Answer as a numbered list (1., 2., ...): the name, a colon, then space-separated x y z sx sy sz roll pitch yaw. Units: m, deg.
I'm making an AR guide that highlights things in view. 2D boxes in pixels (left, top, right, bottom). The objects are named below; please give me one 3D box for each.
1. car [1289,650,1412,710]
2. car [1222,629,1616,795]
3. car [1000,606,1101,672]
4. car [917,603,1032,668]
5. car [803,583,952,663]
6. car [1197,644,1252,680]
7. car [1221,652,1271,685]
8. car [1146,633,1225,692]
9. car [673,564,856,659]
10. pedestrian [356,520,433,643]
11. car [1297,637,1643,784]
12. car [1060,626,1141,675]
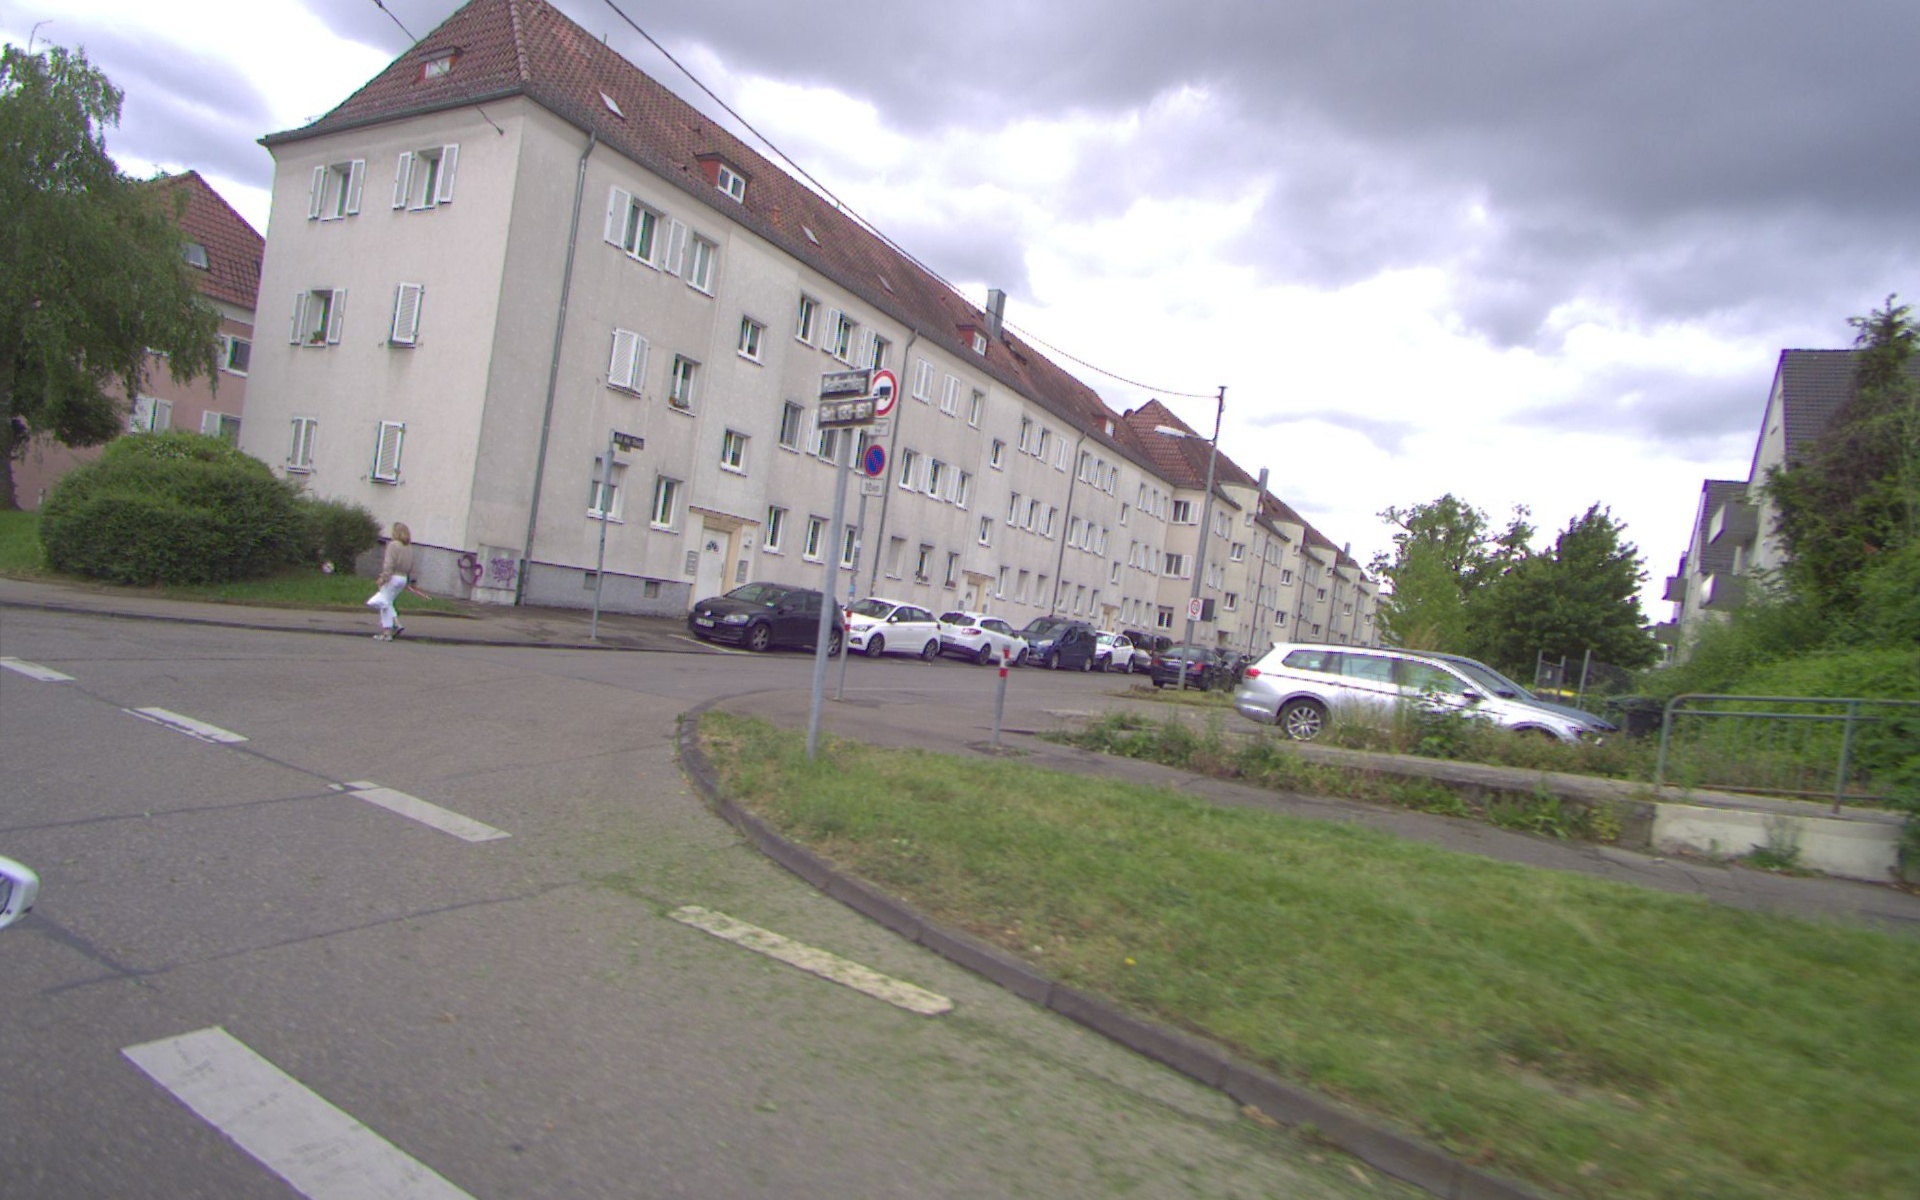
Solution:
1. car: 13.490 2.772 34.802 3.626 1.551 1.581 6 -2 33
2. car: 6.211 1.461 13.950 4.532 1.481 1.999 6 -2 29
3. car: 3.268 1.427 35.769 1.713 1.806 3.994 10 -1 33
4. car: 0.531 1.135 31.056 1.712 1.477 3.997 10 -1 29
5. car: -2.100 0.657 26.801 1.714 1.538 3.994 10 -1 33
6. car: 14.175 3.346 53.739 1.712 1.477 3.997 10 -1 30
7. car: 16.641 3.998 58.482 1.712 1.477 3.997 10 -1 30
8. car: 7.261 2.038 32.126 1.610 1.551 3.687 7 -2 24
9. car: -4.269 0.317 22.526 1.695 1.472 3.882 12 0 30
10. pedestrian: -8.329 -0.263 14.829 0.565 1.707 0.657 9 3 31
11. car: 7.988 1.693 16.094 4.532 1.551 1.999 6 -2 29
12. car: 5.696 2.049 40.410 1.712 1.477 3.997 10 -1 30
